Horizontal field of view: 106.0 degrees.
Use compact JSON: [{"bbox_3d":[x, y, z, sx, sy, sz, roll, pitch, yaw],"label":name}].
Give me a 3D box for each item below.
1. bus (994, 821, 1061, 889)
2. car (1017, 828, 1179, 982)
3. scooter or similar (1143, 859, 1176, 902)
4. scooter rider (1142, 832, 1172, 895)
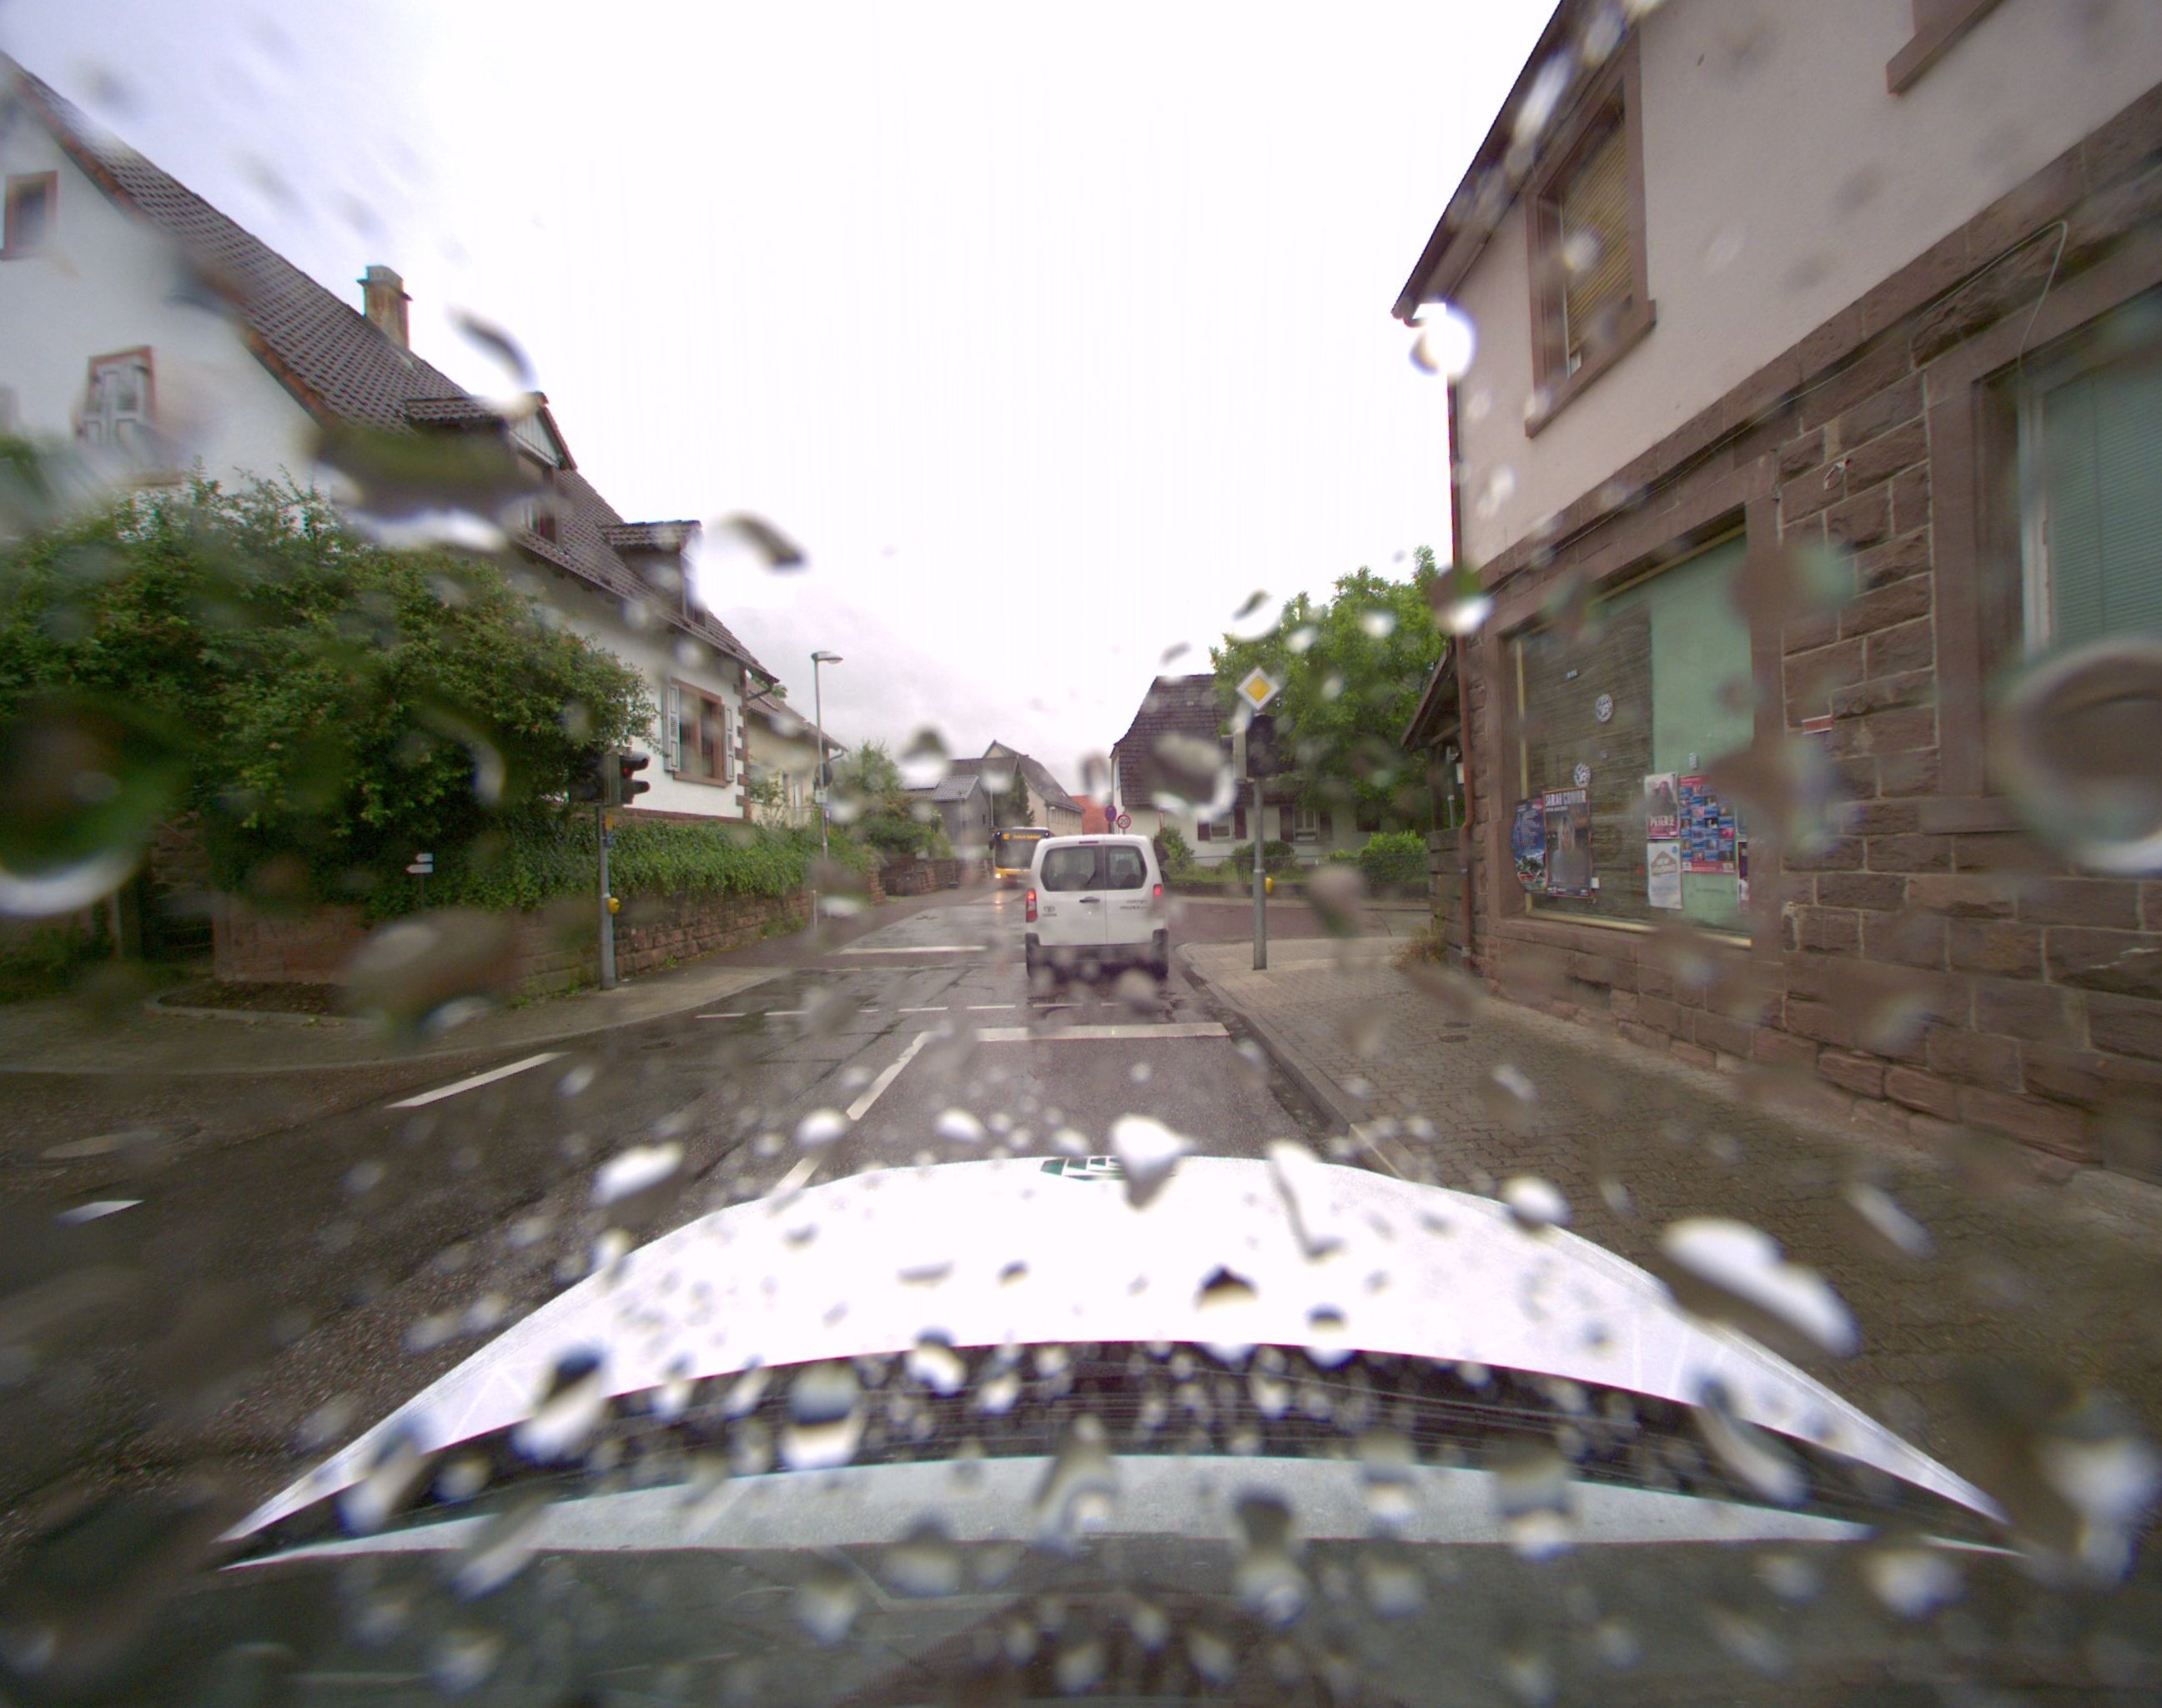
[{"bbox_3d":[-2.562,-0.113,42.824,2.641,2.999,12.192,-1,1,0],"label":"bus"},{"bbox_3d":[0.218,0.601,11.538,1.888,1.794,3.813,-1,0,0],"label":"car"},{"bbox_3d":[2.197,0.729,22.852,0.620,1.127,1.399,-1,1,-7],"label":"scooter or similar"},{"bbox_3d":[2.151,0.249,23.034,0.730,1.733,0.517,-2,1,-8],"label":"scooter rider"}]
